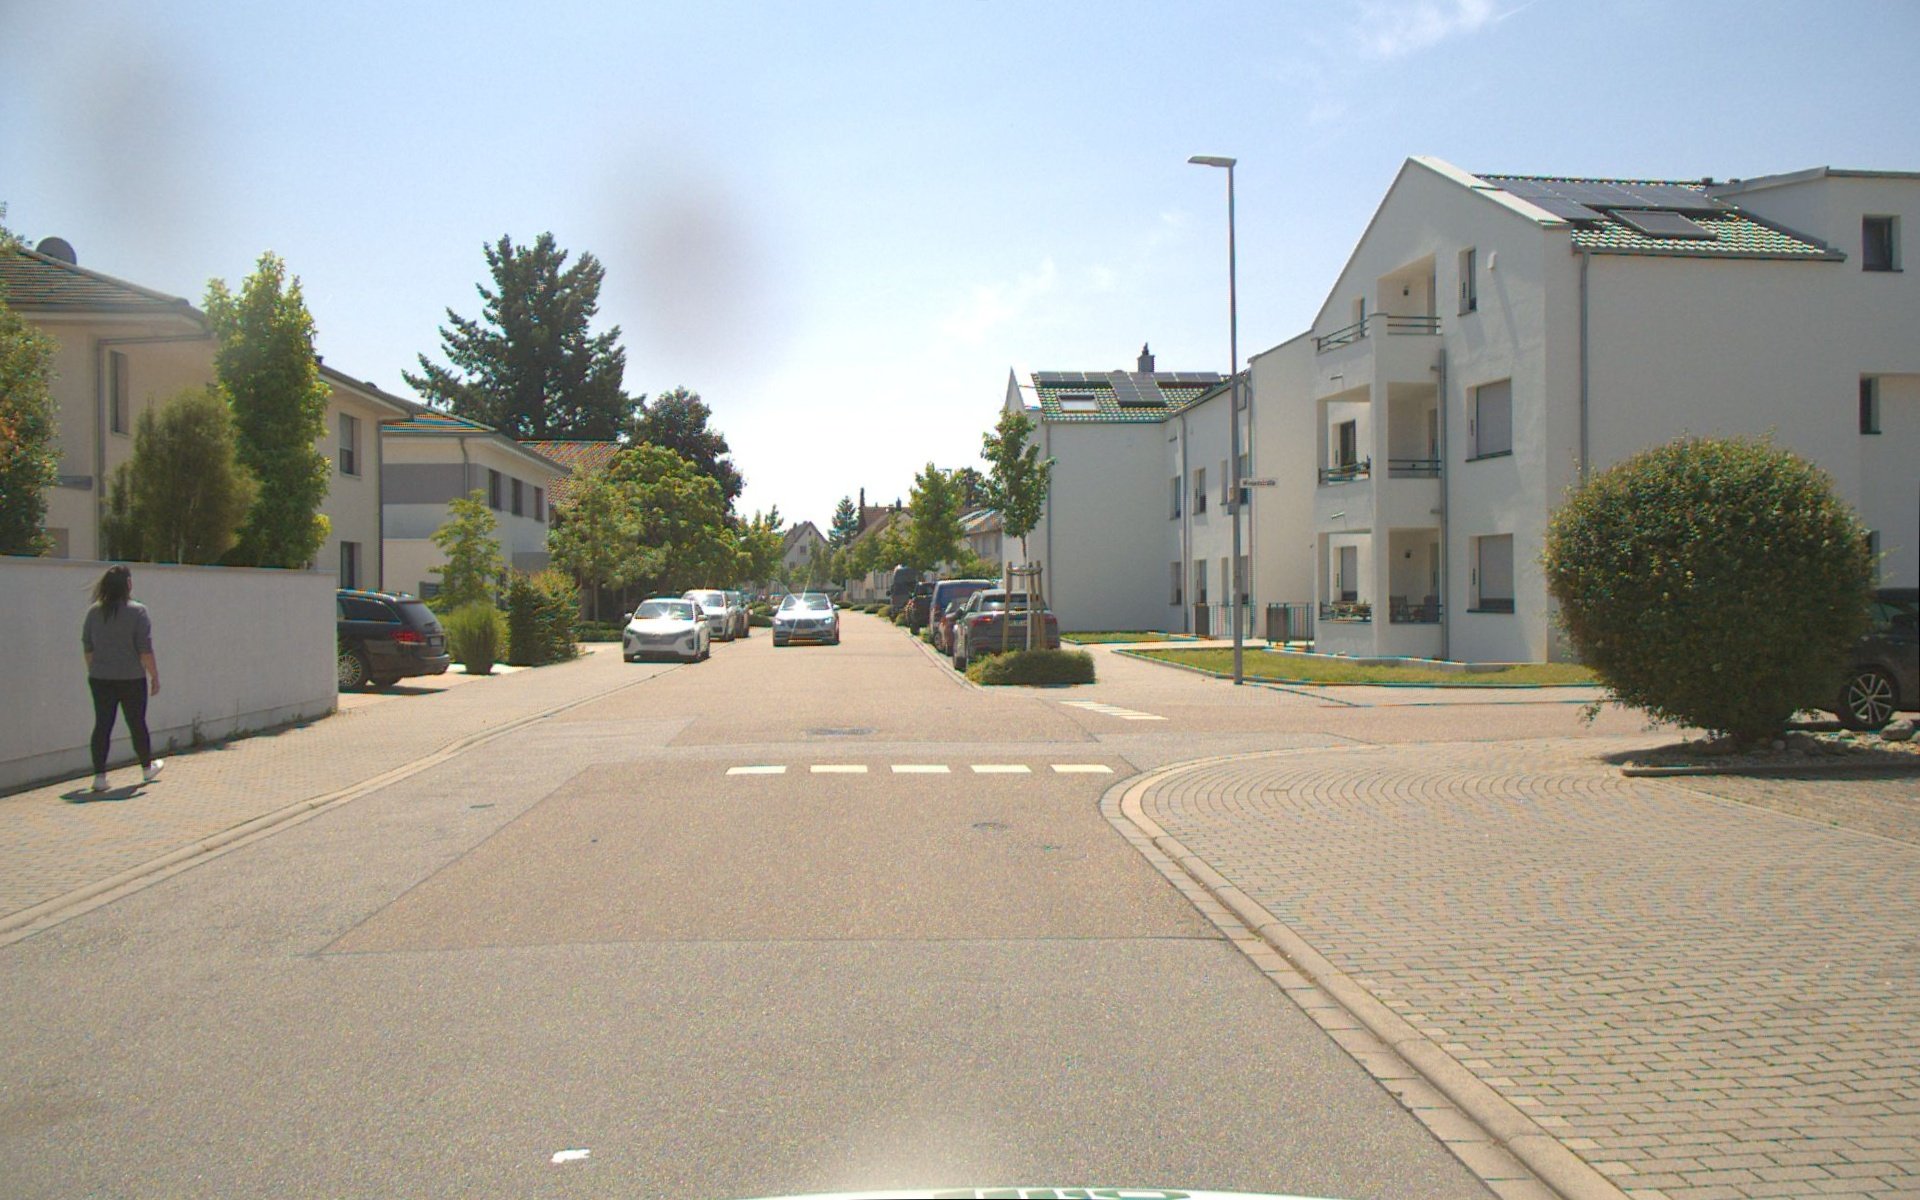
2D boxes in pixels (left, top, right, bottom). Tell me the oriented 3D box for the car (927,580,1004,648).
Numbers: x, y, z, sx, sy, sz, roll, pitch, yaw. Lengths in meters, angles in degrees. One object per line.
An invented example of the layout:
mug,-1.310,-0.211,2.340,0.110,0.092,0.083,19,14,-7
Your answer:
car,0.099,0.396,49.198,2.057,1.915,4.840,-1,0,-3

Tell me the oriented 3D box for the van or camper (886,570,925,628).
van or camper,-2.925,-0.053,88.162,1.954,2.993,3.997,0,0,-4

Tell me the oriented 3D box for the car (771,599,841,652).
car,-4.615,0.726,50.025,1.815,1.504,4.698,-1,0,-2

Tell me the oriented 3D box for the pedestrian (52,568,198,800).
pedestrian,-6.631,0.643,13.180,0.700,1.778,0.960,0,0,-3

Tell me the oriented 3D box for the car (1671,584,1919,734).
car,9.988,0.581,17.842,3.914,1.493,1.754,-1,0,-6

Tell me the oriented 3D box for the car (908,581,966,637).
car,-0.937,0.322,63.432,1.954,1.981,5.211,-2,0,-3

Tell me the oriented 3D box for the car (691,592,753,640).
car,-8.866,0.577,61.894,1.954,1.710,4.211,-1,0,-3

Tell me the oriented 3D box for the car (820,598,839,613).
car,-14.309,0.556,181.911,1.954,1.601,3.997,-1,0,-3

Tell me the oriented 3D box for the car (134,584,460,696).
car,-10.400,0.611,26.166,4.338,1.499,1.851,3,0,0

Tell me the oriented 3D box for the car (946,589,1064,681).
car,0.816,0.639,32.500,1.739,1.623,4.274,-2,0,-6

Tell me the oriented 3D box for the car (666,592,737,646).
car,-8.614,0.608,55.435,1.889,1.716,4.495,-1,0,-3

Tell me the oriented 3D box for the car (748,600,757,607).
car,-31.414,0.573,250.385,1.168,1.089,3.043,-1,0,-13

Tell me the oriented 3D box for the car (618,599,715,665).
car,-7.144,0.739,40.567,1.815,1.514,4.382,-1,0,-3

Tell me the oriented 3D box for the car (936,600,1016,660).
car,0.365,0.736,42.548,1.647,1.467,4.022,-1,0,-6
